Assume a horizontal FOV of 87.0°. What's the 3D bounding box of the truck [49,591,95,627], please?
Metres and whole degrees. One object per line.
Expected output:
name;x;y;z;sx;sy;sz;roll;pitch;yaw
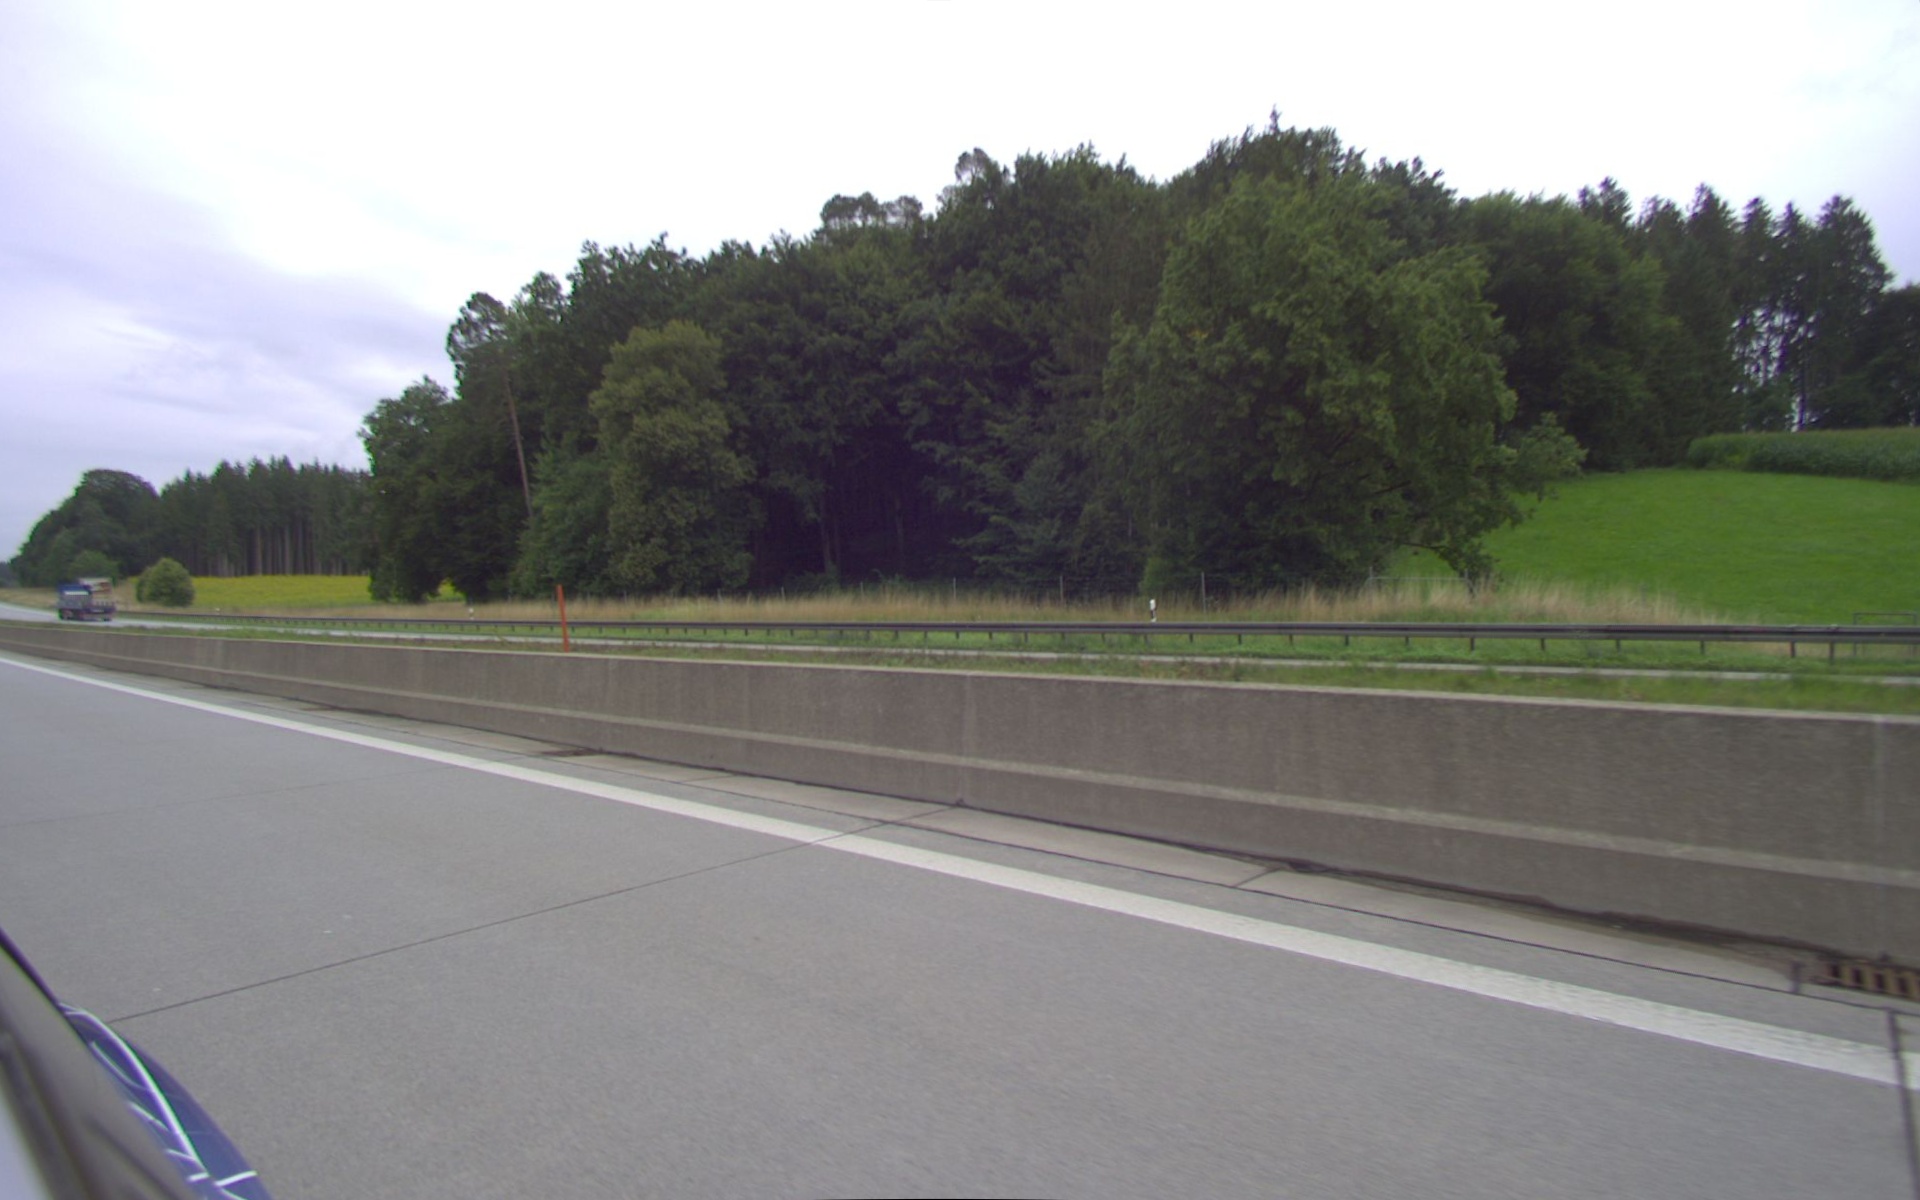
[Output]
truck;-92.846;0.908;105.758;6.637;3.543;2.728;0;1;41

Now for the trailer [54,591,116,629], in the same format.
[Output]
trailer;-87.457;0.926;101.057;13.879;3.534;2.756;0;1;41
